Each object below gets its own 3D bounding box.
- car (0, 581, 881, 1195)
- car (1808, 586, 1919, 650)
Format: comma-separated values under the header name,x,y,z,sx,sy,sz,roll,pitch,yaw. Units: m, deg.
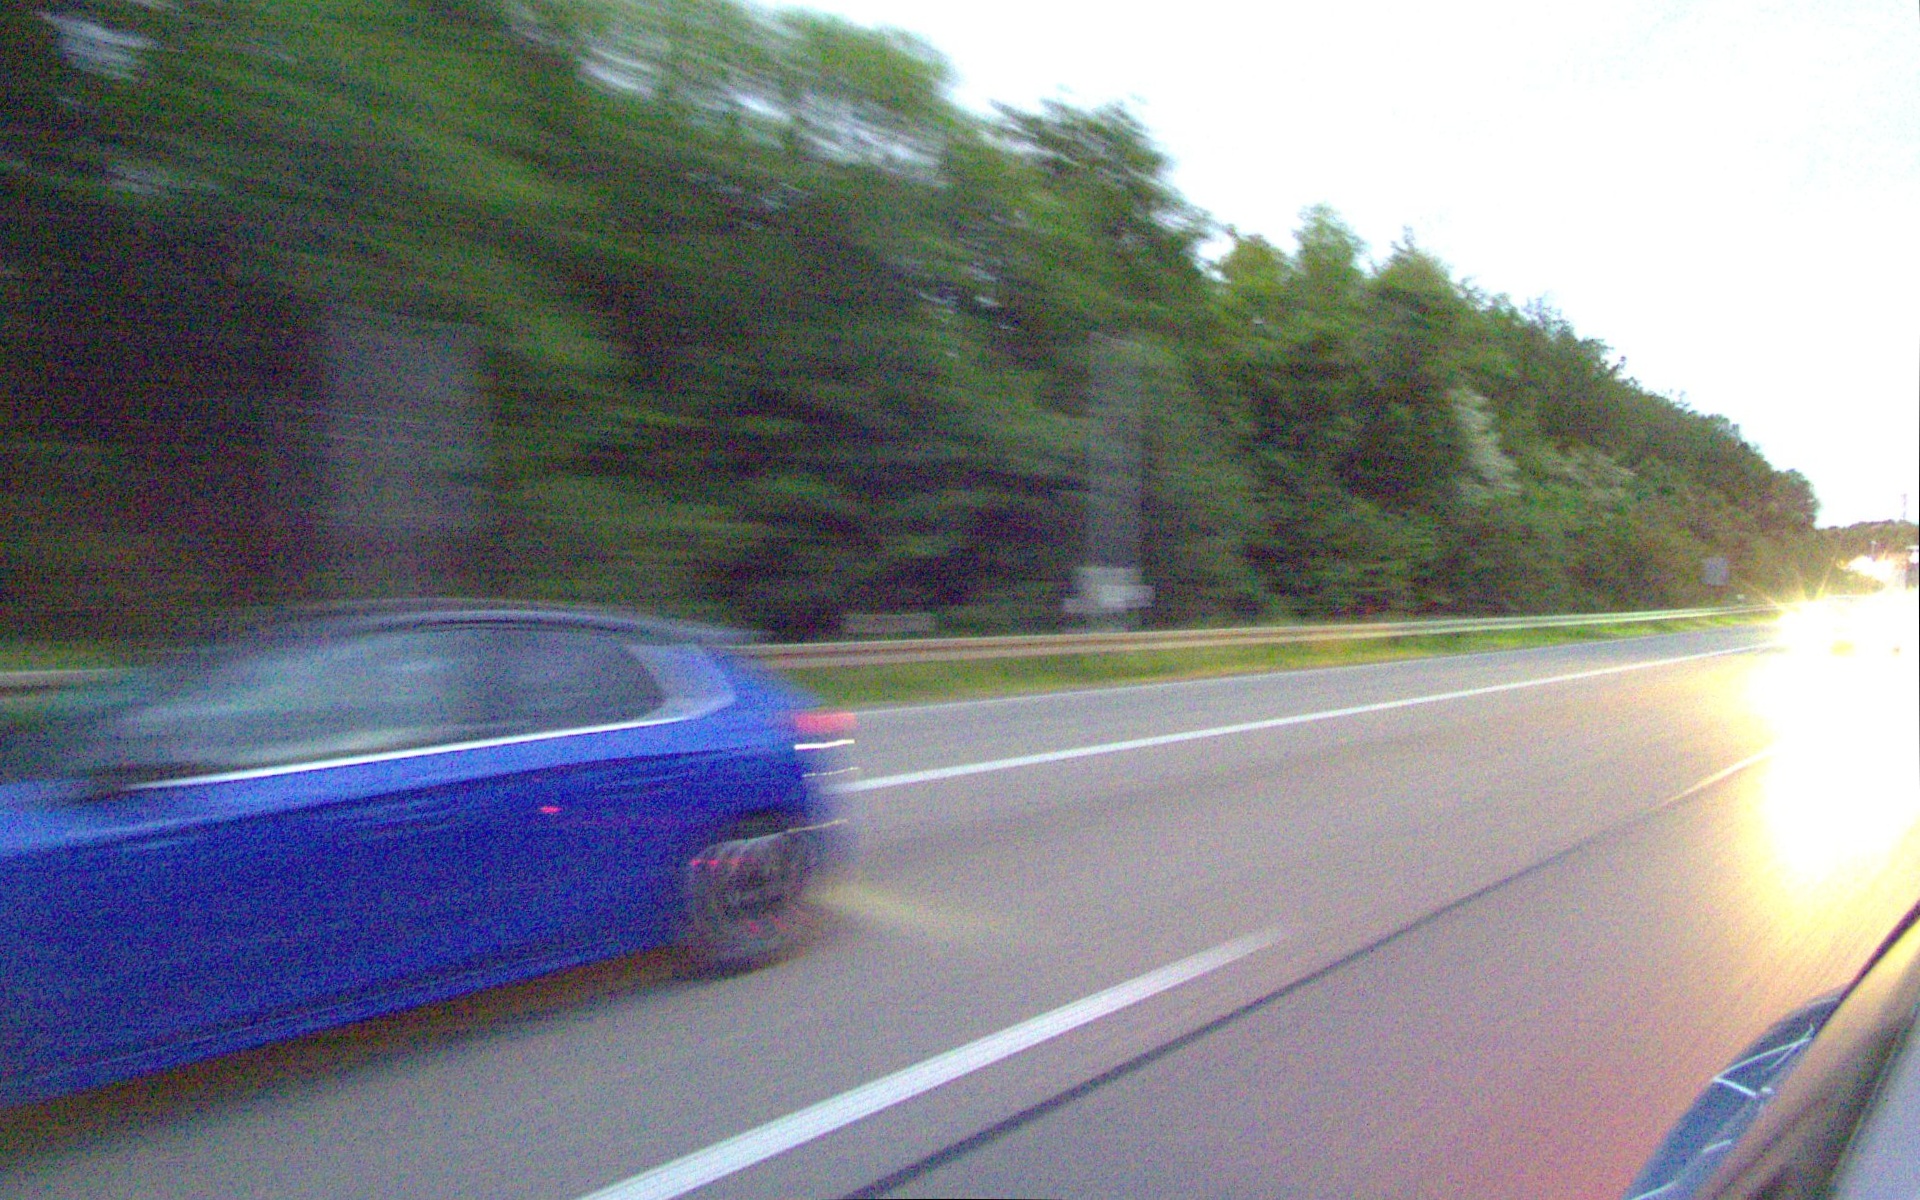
name,x,y,z,sx,sy,sz,roll,pitch,yaw
car,-2.638,0.685,3.353,4.503,1.454,1.869,-1,1,-40
car,23.395,0.422,26.147,4.865,1.509,1.693,0,0,-43
